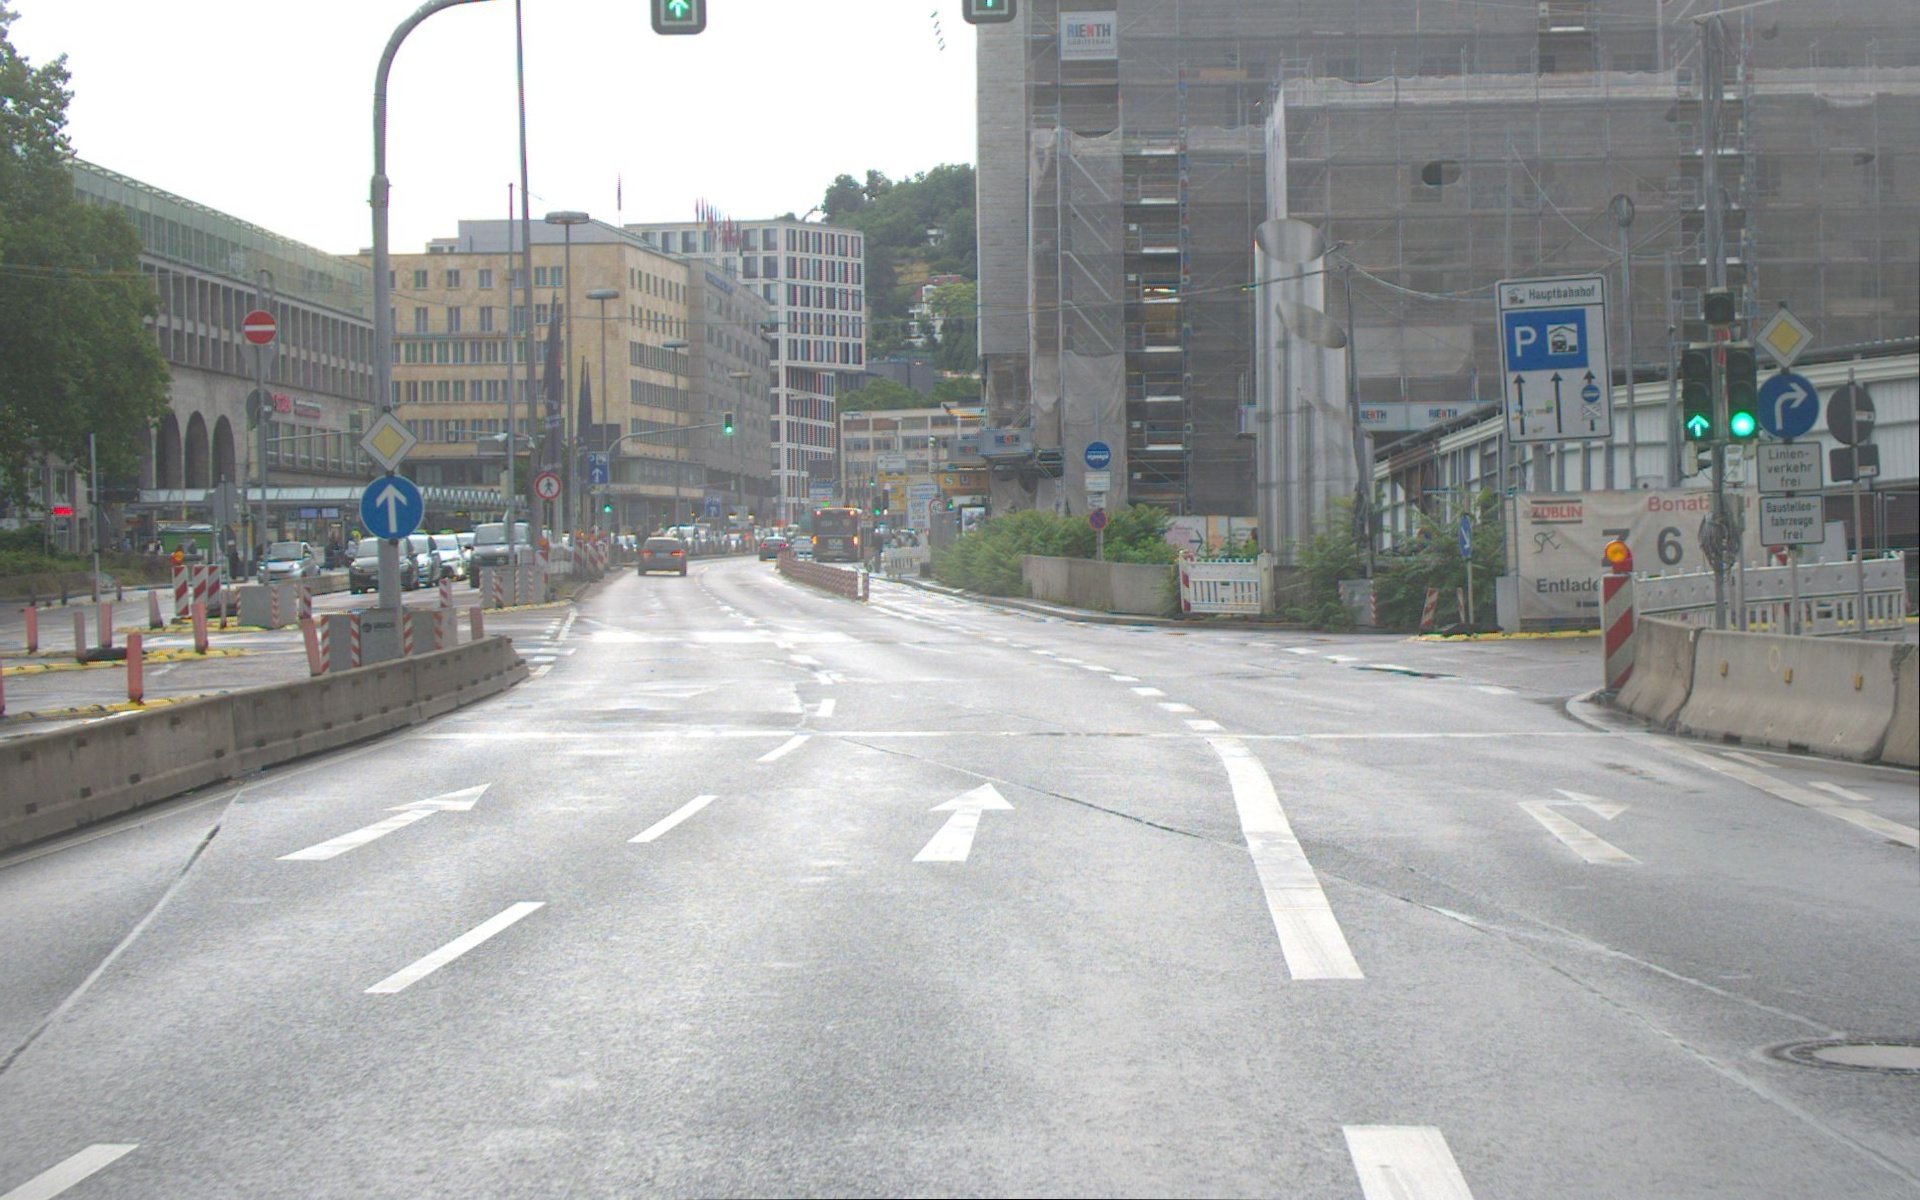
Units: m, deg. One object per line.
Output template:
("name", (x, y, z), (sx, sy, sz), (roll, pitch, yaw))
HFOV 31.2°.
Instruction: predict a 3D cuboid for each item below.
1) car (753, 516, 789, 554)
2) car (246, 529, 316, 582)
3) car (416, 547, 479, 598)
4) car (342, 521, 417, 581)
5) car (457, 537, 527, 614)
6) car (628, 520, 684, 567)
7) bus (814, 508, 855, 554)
("car", (-10.914, -3.745, 198.662), (1.993, 2.007, 4.000), (-3, -1, -3))
("car", (-22.327, -1.438, 113.193), (1.901, 1.523, 4.178), (-3, -1, -7))
("car", (-17.240, -0.912, 115.753), (1.901, 1.523, 4.178), (-3, -1, -7))
("car", (-16.981, -1.412, 100.787), (1.901, 1.523, 4.178), (-3, -1, -7))
("car", (-13.740, -0.700, 101.116), (1.901, 2.075, 4.178), (-3, -1, -7))
("car", (-11.374, -2.104, 128.504), (1.901, 1.523, 4.178), (-3, -1, -7))
("bus", (-7.139, -3.908, 195.276), (1.993, 2.423, 4.000), (-3, -1, 1))
